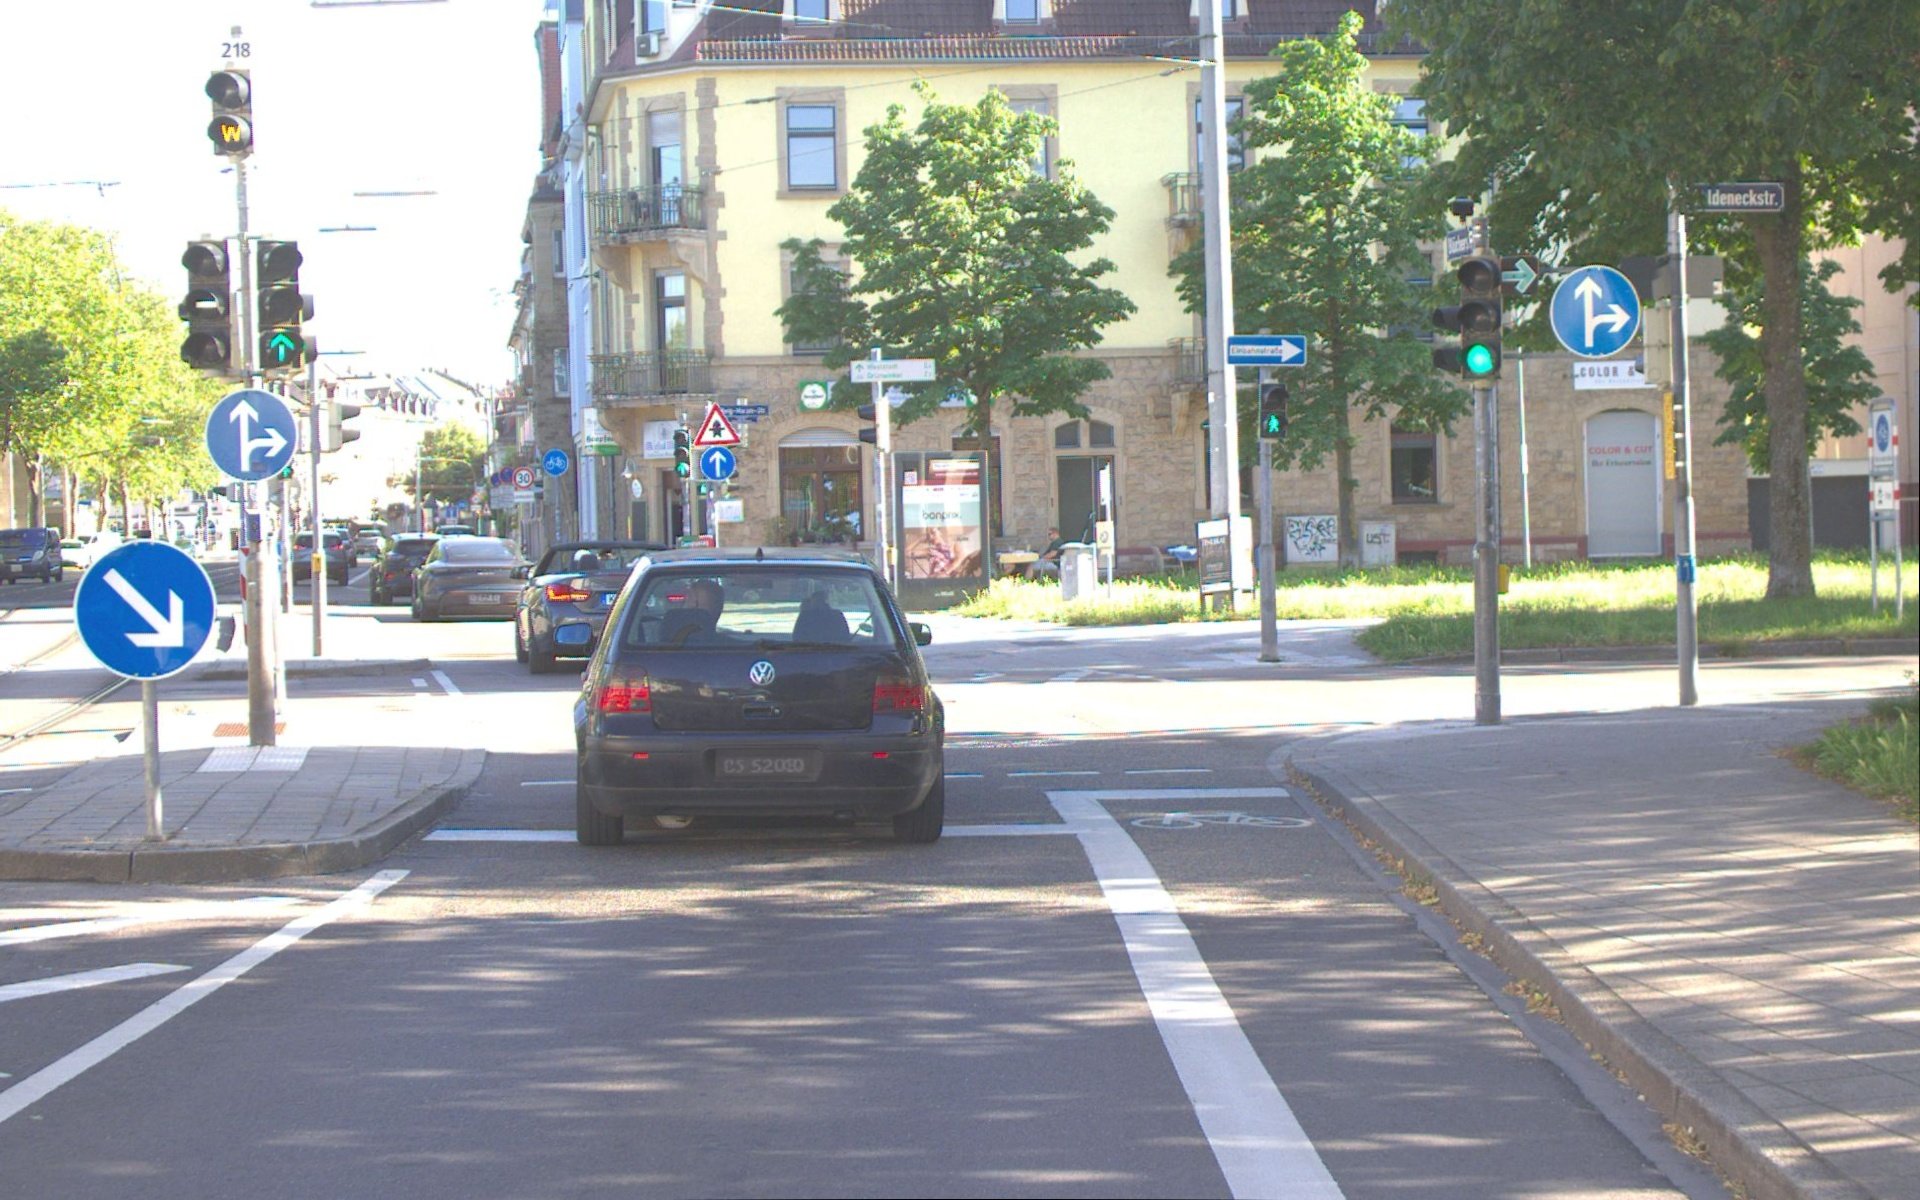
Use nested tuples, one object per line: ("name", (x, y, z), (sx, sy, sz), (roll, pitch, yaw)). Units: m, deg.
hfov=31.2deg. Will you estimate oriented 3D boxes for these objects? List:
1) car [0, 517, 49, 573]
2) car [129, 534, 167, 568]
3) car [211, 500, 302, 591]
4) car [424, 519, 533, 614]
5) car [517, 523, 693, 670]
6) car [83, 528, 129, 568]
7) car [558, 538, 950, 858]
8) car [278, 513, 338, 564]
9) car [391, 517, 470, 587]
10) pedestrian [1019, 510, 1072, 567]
("car", (-31.948, -1.872, 116.309), (1.971, 1.809, 4.298), (-2, 2, -13))
("car", (-50.394, -3.020, 213.318), (1.993, 2.007, 4.001), (-2, 1, -10))
("car", (-15.023, -1.184, 73.558), (1.786, 1.853, 4.001), (-1, 1, -10))
("car", (-7.944, -0.579, 56.550), (1.569, 1.306, 3.648), (-2, 4, -11))
("car", (-3.682, -0.075, 35.237), (1.634, 1.367, 3.758), (-2, 2, -8))
("car", (-44.508, -2.701, 179.276), (1.993, 2.007, 4.001), (-2, 1, -10))
("car", (-0.948, 0.395, 17.096), (1.716, 1.398, 4.006), (0, 1, -1))
("car", (-19.279, -1.829, 101.722), (1.680, 1.448, 3.380), (-2, 2, -10))
("car", (-11.475, -1.060, 74.396), (1.569, 1.306, 3.501), (-2, 4, -10))
("pedestrian", (1.833, -1.329, 73.704), (0.979, 1.183, 0.743), (-2, 2, -9))
